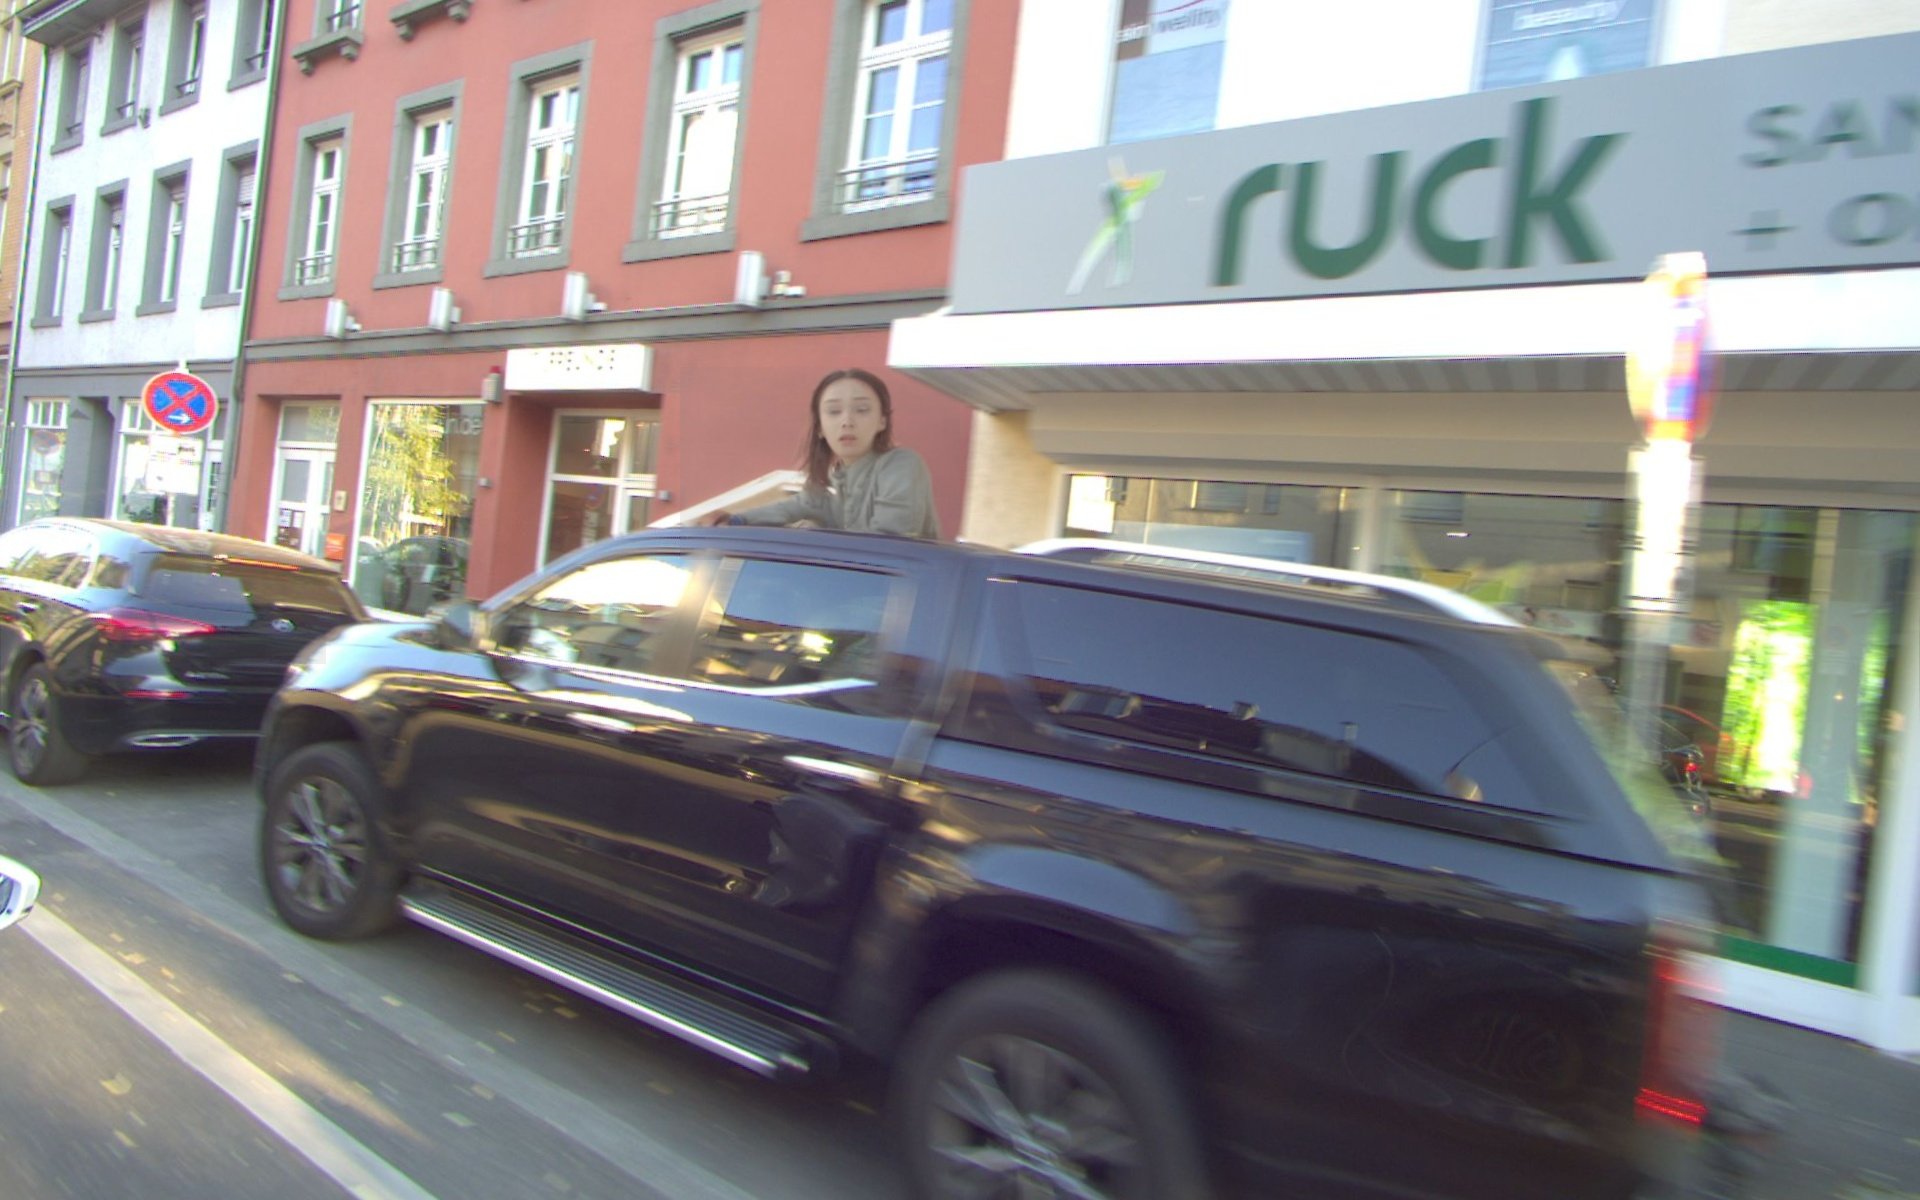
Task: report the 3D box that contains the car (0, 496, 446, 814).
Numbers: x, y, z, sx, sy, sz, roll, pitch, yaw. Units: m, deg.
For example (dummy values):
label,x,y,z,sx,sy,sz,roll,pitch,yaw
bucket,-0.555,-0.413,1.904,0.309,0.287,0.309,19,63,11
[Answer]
label,x,y,z,sx,sy,sz,roll,pitch,yaw
car,-5.588,0.186,6.778,4.236,1.501,1.765,6,-2,32

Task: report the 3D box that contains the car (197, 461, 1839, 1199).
label,x,y,z,sx,sy,sz,roll,pitch,yaw
car,-0.400,0.640,3.646,4.973,1.775,1.887,6,-2,30
